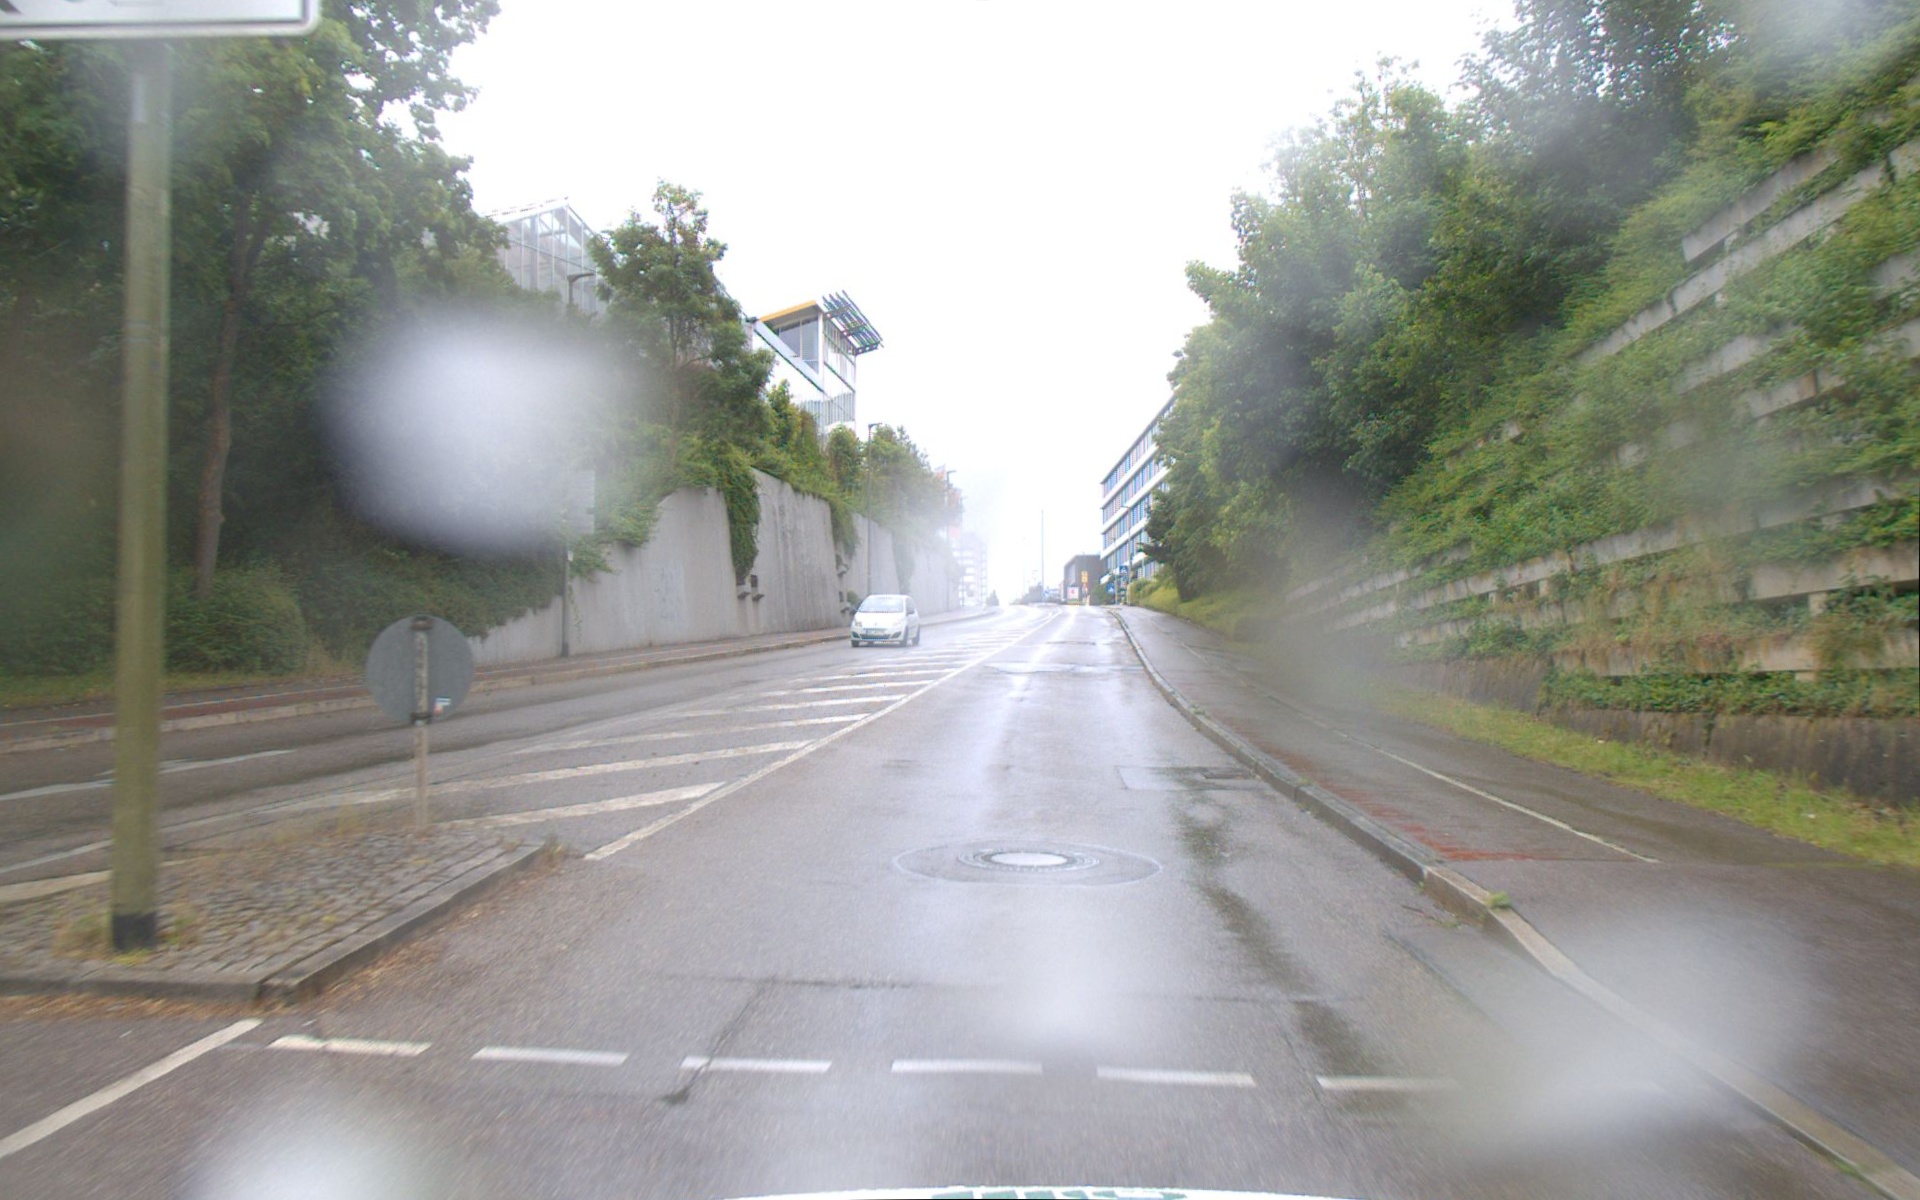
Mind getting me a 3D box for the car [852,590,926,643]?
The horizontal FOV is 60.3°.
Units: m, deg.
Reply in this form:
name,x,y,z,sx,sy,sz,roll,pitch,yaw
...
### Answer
name,x,y,z,sx,sy,sz,roll,pitch,yaw
car,-2.039,0.508,48.607,1.480,1.474,3.819,0,-1,8
